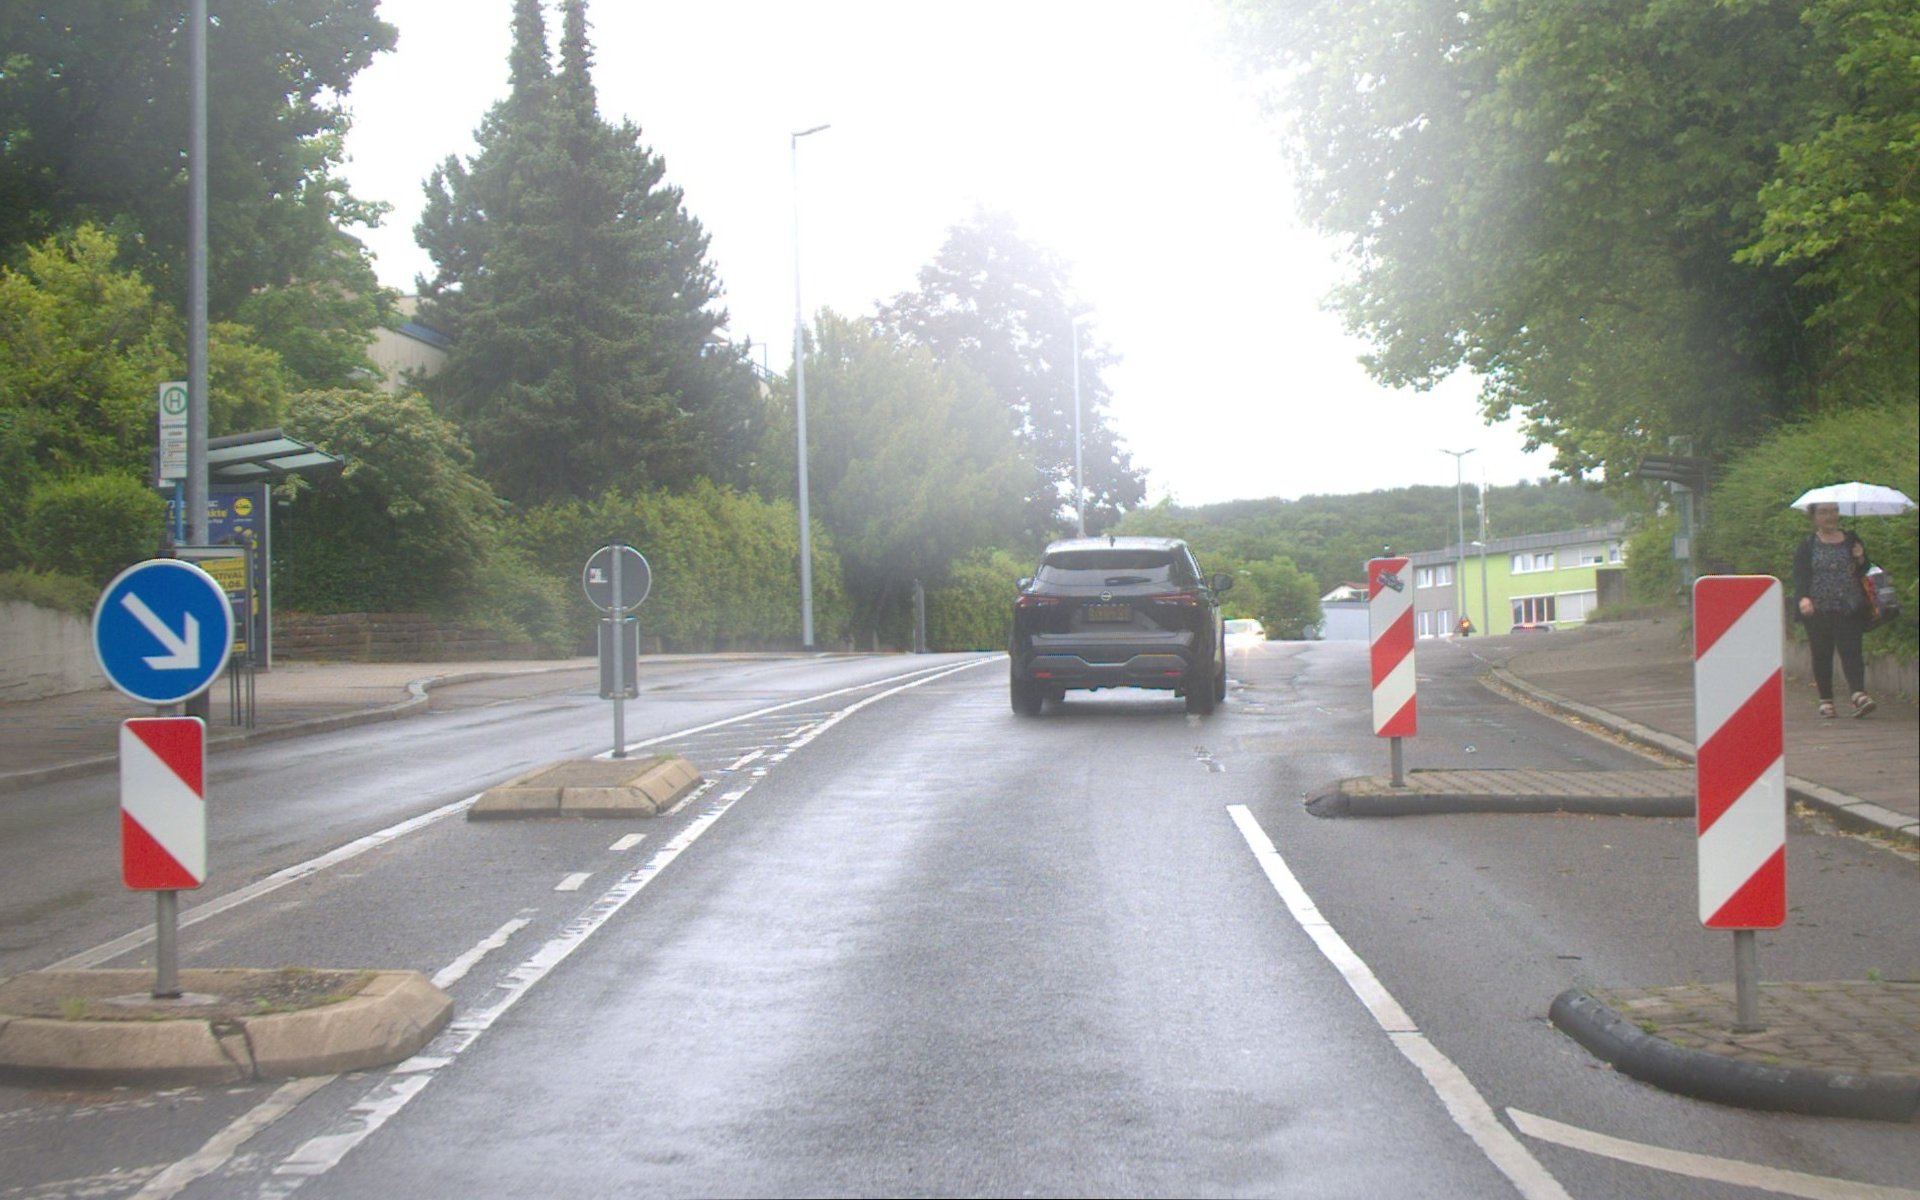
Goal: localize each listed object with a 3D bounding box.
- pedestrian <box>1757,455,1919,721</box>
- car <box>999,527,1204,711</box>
[{"bbox_3d":[6.523,-0.080,25.109,1.051,1.887,1.133,-1,-1,-4],"label":"pedestrian"},{"bbox_3d":[1.322,0.125,32.192,1.790,1.598,4.253,0,1,2],"label":"car"}]
